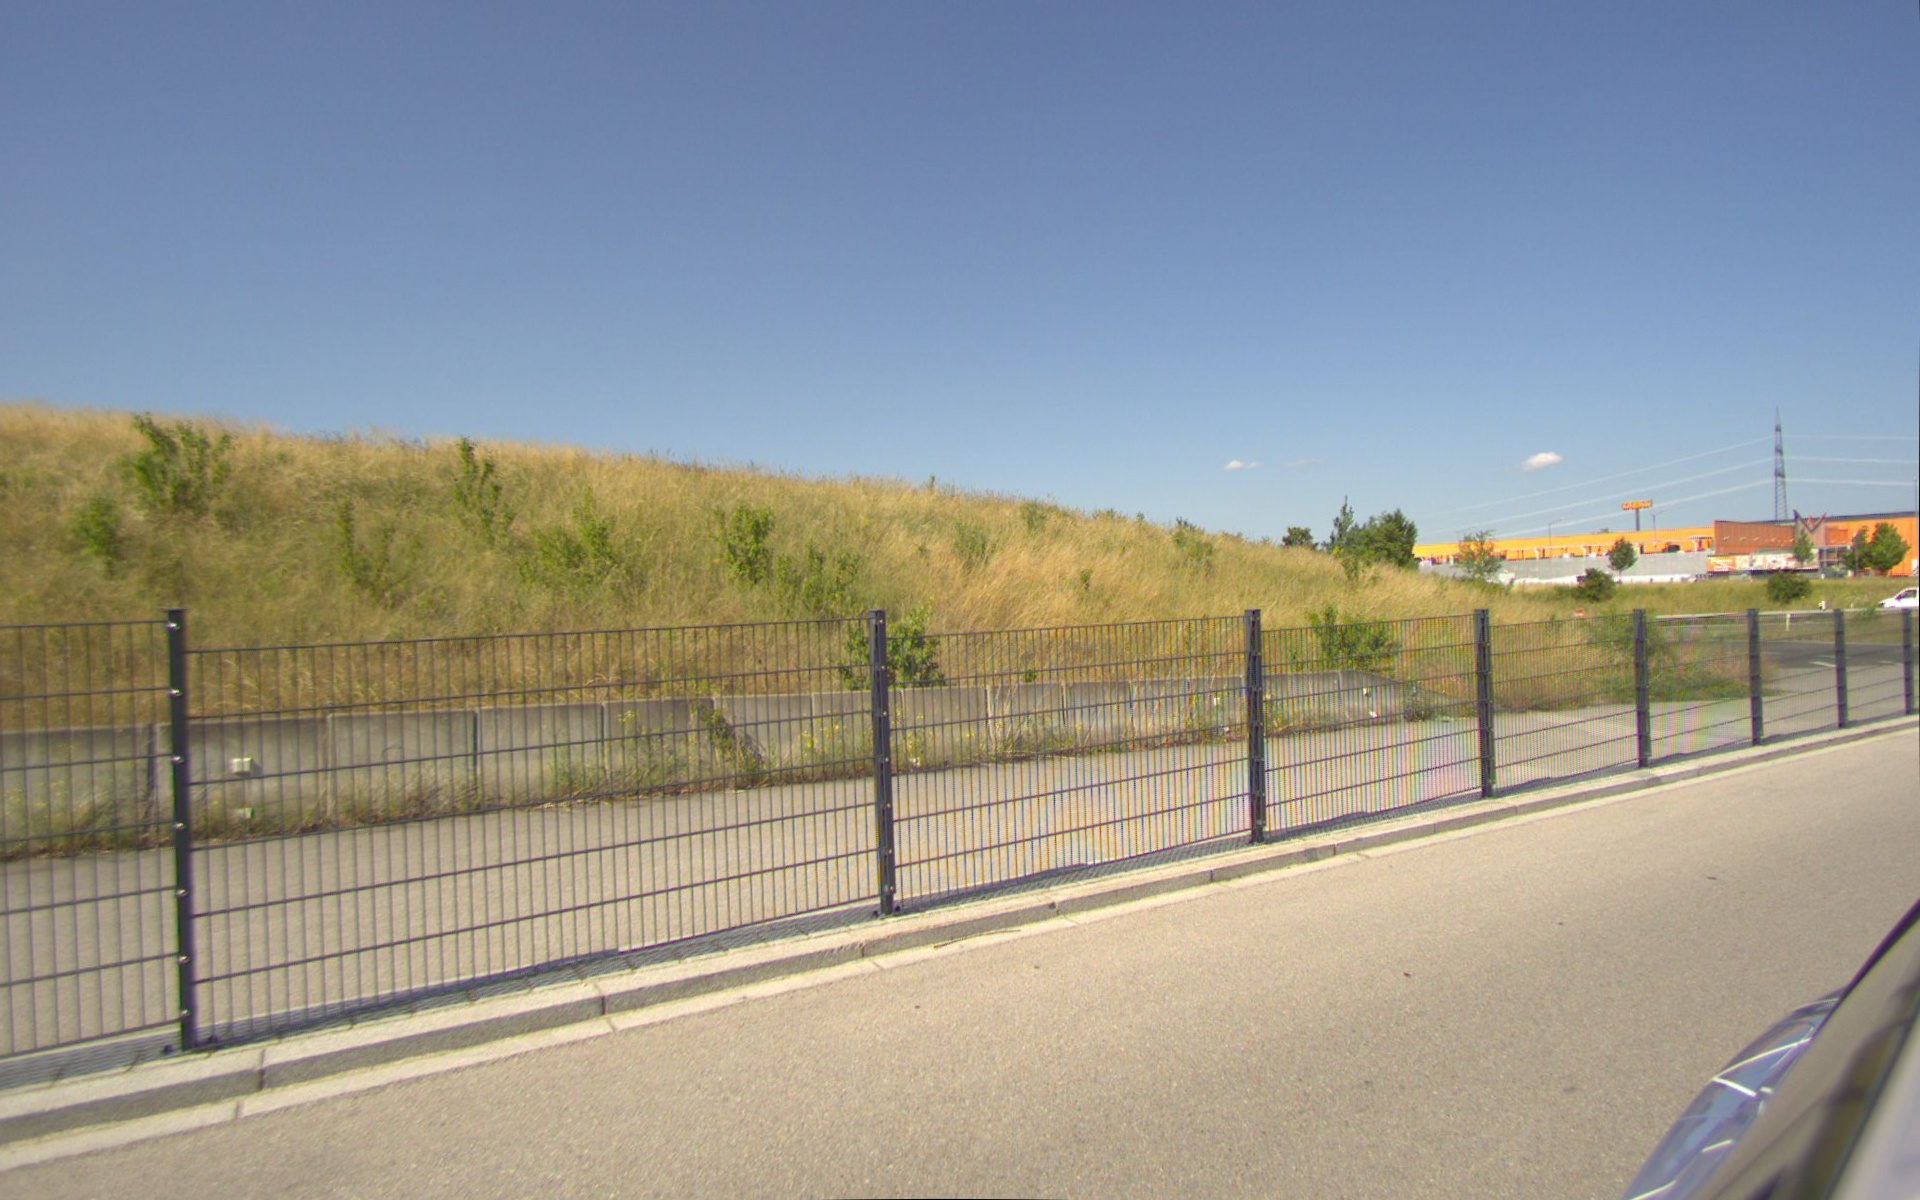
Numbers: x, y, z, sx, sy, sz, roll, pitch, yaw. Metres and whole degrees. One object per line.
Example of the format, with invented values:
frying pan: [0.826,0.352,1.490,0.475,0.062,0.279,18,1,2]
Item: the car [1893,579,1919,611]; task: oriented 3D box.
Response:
car: [63.649,-0.388,64.946,1.964,2.039,5.248,-1,-1,-39]
